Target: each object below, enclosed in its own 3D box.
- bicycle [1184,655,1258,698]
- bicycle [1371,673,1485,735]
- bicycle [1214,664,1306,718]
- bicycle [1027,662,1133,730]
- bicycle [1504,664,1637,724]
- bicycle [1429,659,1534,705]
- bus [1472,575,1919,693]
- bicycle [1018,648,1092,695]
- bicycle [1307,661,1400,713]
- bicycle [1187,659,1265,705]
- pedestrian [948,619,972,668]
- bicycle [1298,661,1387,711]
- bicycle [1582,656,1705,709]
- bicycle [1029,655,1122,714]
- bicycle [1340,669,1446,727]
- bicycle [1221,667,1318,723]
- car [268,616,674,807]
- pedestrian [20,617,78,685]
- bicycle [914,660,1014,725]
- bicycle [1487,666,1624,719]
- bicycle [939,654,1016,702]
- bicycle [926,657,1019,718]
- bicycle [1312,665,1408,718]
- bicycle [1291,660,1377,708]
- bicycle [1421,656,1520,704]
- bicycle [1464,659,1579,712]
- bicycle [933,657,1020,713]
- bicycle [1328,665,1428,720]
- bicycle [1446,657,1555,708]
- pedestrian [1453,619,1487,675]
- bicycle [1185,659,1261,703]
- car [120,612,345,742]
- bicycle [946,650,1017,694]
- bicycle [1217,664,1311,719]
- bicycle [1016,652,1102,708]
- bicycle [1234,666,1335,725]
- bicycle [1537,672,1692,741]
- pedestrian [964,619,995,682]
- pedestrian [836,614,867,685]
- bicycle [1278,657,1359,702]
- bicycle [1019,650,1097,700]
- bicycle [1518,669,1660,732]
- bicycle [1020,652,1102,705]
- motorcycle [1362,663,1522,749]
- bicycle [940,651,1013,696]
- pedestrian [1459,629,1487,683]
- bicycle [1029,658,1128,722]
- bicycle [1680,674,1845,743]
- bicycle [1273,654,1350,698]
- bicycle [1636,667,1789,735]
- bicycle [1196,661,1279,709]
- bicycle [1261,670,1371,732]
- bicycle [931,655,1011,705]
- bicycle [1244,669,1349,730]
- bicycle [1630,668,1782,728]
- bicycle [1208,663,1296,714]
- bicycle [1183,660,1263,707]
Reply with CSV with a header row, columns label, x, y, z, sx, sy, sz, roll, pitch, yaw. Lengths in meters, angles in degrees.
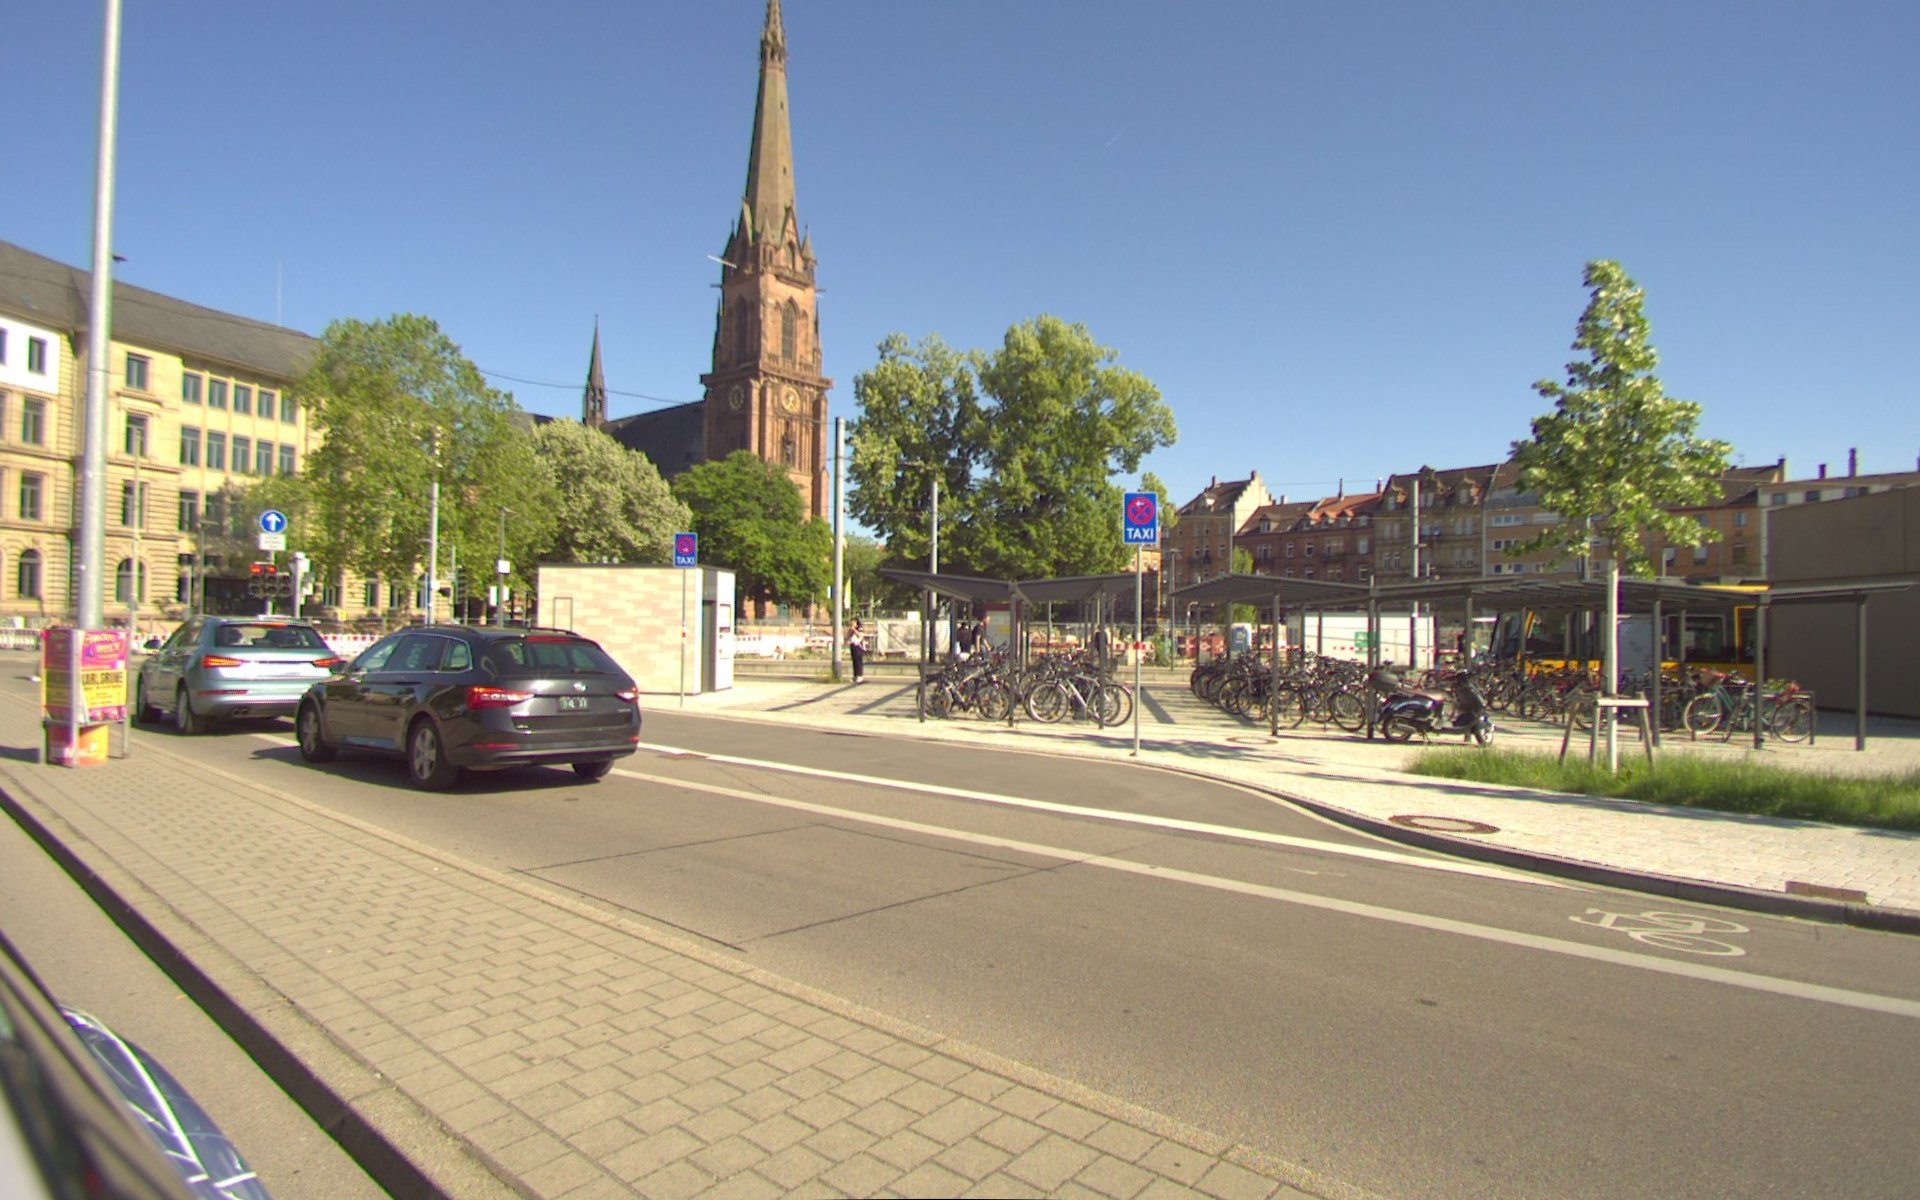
label,x,y,z,sx,sy,sz,roll,pitch,yaw
bicycle,6.255,1.839,24.309,1.661,0.980,0.406,1,-5,3
bicycle,7.767,1.726,16.819,1.661,0.980,0.406,-1,0,3
bicycle,5.900,1.784,19.956,1.661,0.980,0.406,1,0,3
bicycle,2.021,1.608,17.090,1.753,1.083,0.406,1,-3,6
bicycle,11.321,1.736,18.810,2.048,1.045,0.533,-1,0,8
bicycle,12.030,1.882,23.372,2.048,1.045,0.533,-1,-4,8
bus,22.161,0.938,28.621,13.462,3.095,2.859,0,-2,6
bicycle,2.313,1.726,24.675,1.755,1.083,0.406,1,0,6
bicycle,7.856,1.733,20.227,1.661,0.980,0.406,-1,0,3
bicycle,6.052,1.863,23.049,1.661,0.980,0.406,1,-5,3
pedestrian,-0.015,1.672,39.048,0.610,1.874,0.703,2,-2,-39
bicycle,7.860,1.764,20.824,1.661,0.980,0.406,-1,0,3
bicycle,14.077,1.699,20.875,2.048,1.045,0.533,-1,0,8
bicycle,2.234,1.623,19.580,1.755,1.083,0.406,1,0,6
bicycle,7.642,1.728,17.890,1.661,0.980,0.406,-1,0,3
bicycle,5.727,1.753,18.766,1.661,0.980,0.406,-1,0,3
car,-5.110,0.980,10.263,4.779,1.516,1.796,-1,-4,39
pedestrian,-23.259,1.292,25.850,0.628,1.680,0.922,-1,-2,33
bicycle,0.066,1.577,17.380,1.663,1.006,0.406,2,0,8
bicycle,11.613,1.801,19.788,2.208,0.951,0.685,-1,0,7
bicycle,0.383,1.708,22.282,1.663,1.006,0.406,0,0,8
bicycle,0.230,1.599,18.599,1.663,1.006,0.406,2,0,8
bicycle,7.715,1.766,19.527,1.661,0.980,0.406,-1,0,3
bicycle,7.987,1.792,21.621,1.661,0.980,0.406,-1,0,3
bicycle,12.299,1.922,24.427,2.048,1.045,0.533,1,3,8
bicycle,11.775,1.798,21.262,2.048,1.045,0.533,-1,2,8
bicycle,0.327,1.666,19.942,1.663,1.006,0.406,2,0,8
bicycle,7.841,1.733,19.011,1.661,0.980,0.406,-1,0,3
bicycle,11.865,1.804,22.253,2.048,1.045,0.533,-1,2,8
pedestrian,17.771,1.639,35.256,0.793,1.931,0.769,0,-2,4
bicycle,6.136,1.884,23.622,1.661,0.980,0.406,1,-5,3
car,-10.555,1.034,14.568,4.257,1.594,1.768,-1,-4,43
bicycle,0.516,1.705,24.185,1.663,1.006,0.406,0,0,8
bicycle,5.813,1.740,19.373,1.661,0.980,0.406,1,0,3
bicycle,2.051,1.645,20.971,1.755,1.083,0.406,1,0,6
bicycle,5.814,1.712,18.186,1.661,0.980,0.406,1,0,3
bicycle,10.571,1.714,16.387,2.048,1.045,0.533,-1,0,8
pedestrian,0.546,1.400,28.437,0.823,1.740,0.620,0,-2,4
pedestrian,-2.908,1.329,27.238,0.614,1.874,0.699,0,-2,14
bicycle,8.072,1.791,22.836,1.661,0.980,0.406,-1,0,3
bicycle,2.271,1.734,23.496,1.755,1.083,0.406,1,0,6
bicycle,10.936,1.741,17.642,2.048,1.045,0.533,-1,0,8
bicycle,2.192,1.697,22.026,1.755,1.083,0.406,1,0,6
motorcycle,7.192,1.573,15.157,2.059,1.228,0.569,-1,-2,3
bicycle,0.392,1.704,23.660,1.663,1.006,0.406,0,0,8
pedestrian,19.664,2.131,38.832,0.793,2.029,0.535,0,-2,4
bicycle,2.138,1.619,18.335,1.753,1.083,0.406,1,0,6
bicycle,12.766,1.718,16.136,2.048,1.045,0.533,-1,0,8
bicycle,8.290,1.788,23.913,1.661,0.980,0.406,-1,0,3
bicycle,12.720,1.703,17.147,2.030,1.087,0.604,-1,0,7
bicycle,5.924,1.808,21.638,1.661,0.980,0.406,1,-5,3
bicycle,5.932,1.688,16.887,1.661,0.980,0.406,-1,0,3
bicycle,0.228,1.679,21.402,1.663,1.006,0.406,0,0,8
bicycle,5.792,1.712,17.461,1.661,0.980,0.406,1,0,3
bicycle,13.478,1.760,18.328,2.117,1.005,0.690,-1,0,7
bicycle,5.924,1.788,20.562,1.661,0.980,0.406,1,-5,3
bicycle,5.785,1.840,22.294,1.661,0.980,0.406,1,-5,3
